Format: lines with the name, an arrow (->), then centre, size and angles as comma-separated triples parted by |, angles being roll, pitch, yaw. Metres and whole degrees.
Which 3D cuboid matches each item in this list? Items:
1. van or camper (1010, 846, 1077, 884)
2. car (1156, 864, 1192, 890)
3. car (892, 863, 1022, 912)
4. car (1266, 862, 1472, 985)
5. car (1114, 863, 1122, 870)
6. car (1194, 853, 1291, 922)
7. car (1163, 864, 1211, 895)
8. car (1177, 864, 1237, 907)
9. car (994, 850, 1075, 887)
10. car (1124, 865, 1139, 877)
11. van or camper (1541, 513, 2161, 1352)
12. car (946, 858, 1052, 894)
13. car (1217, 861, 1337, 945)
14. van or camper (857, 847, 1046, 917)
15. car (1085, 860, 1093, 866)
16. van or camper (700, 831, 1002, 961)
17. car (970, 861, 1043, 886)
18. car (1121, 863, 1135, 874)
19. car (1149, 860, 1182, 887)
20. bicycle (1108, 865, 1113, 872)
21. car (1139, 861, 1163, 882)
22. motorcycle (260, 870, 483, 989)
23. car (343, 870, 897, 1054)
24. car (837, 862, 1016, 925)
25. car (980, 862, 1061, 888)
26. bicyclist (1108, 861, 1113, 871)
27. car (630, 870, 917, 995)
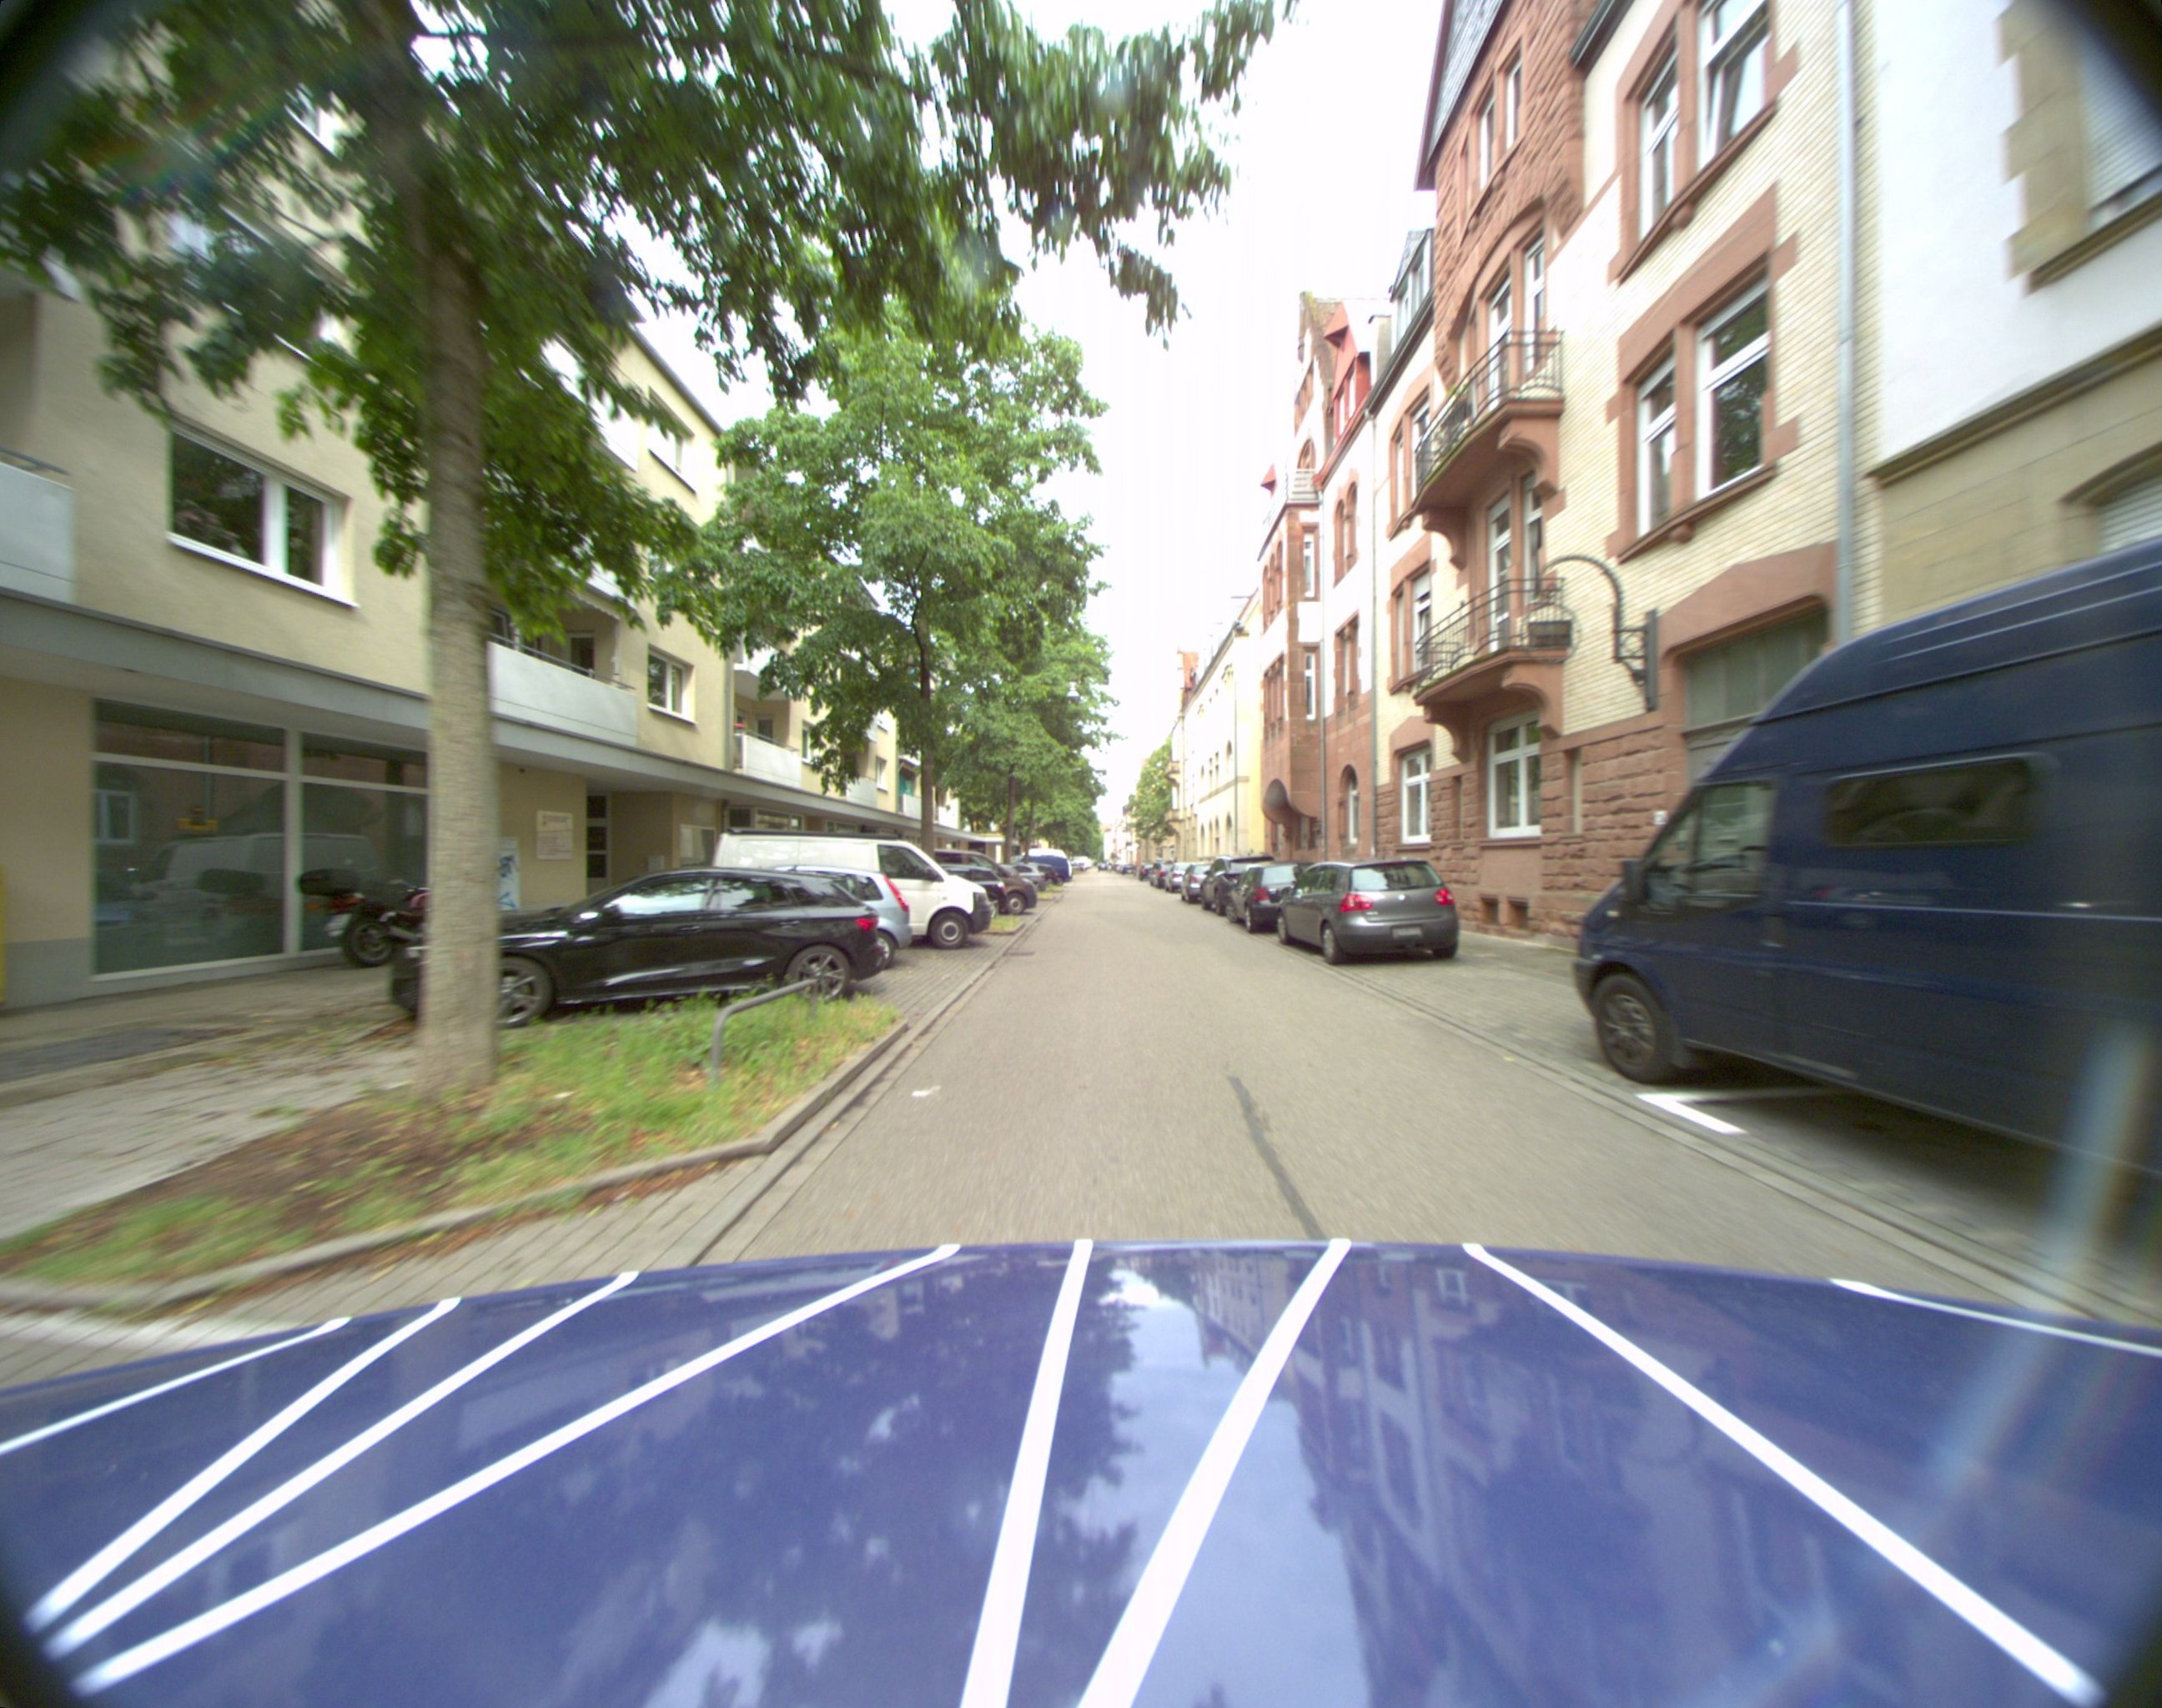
van or camper -> -2.822, 0.805, 57.376 | 4.603, 2.580, 1.907 | -3, 0, -31
car -> 5.242, 1.268, 43.345 | 1.730, 1.378, 3.930 | -1, -1, 3
car -> -4.105, 1.078, 25.054 | 3.867, 1.493, 1.909 | 1, 0, -24
car -> 4.189, 0.916, 11.774 | 1.672, 1.464, 4.001 | -4, 0, 1
car -> 7.661, 2.594, 157.053 | 1.610, 1.463, 3.343 | 0, 0, 1
car -> 4.494, 0.892, 21.797 | 1.790, 1.637, 4.362 | -5, -1, 1
car -> 5.044, 1.202, 36.751 | 1.730, 1.378, 4.137 | -1, -1, 0
car -> 4.535, 1.096, 27.793 | 1.666, 1.412, 3.930 | -2, -1, 2
car -> -2.938, 0.950, 48.601 | 4.716, 2.183, 2.061 | 3, -2, -37
car -> 6.204, 2.039, 93.329 | 1.731, 1.425, 3.883 | -2, -1, 3
van or camper -> 4.396, 0.221, 2.908 | 2.013, 2.636, 5.316 | -3, 0, 1
car -> -3.668, 0.989, 33.979 | 4.234, 1.492, 1.971 | 2, 0, -29
car -> 4.149, 0.977, 16.728 | 1.638, 1.464, 4.000 | -3, 1, 1
van or camper -> -3.761, 0.804, 22.089 | 5.029, 1.858, 2.122 | 2, 0, -24
car -> 2.235, 2.495, 206.493 | 1.998, 1.739, 4.001 | -1, -1, 3
van or camper -> -4.002, 0.696, 13.524 | 4.751, 1.982, 1.996 | 2, 2, -21
car -> -4.436, 1.143, 45.076 | 3.919, 1.457, 1.821 | 1, 0, -23
car -> 6.310, 1.977, 102.624 | 1.593, 1.425, 3.810 | -2, -1, 0
car -> 5.279, 1.240, 47.673 | 1.650, 1.561, 2.957 | -3, -1, 0
bicycle -> 4.490, 2.249, 115.100 | 0.635, 1.087, 1.800 | 0, -1, 3
car -> 5.661, 1.401, 61.893 | 1.713, 1.485, 4.001 | -3, -1, 3
motorcycle -> -8.929, 0.883, 9.732 | 0.679, 1.293, 2.253 | 2, 0, 1
car -> -4.329, 0.932, 7.828 | 4.322, 1.384, 1.918 | 2, -1, -30
car -> -3.895, 0.982, 19.279 | 4.015, 1.436, 1.837 | 2, -1, -30
car -> -3.407, 1.167, 42.908 | 4.120, 1.434, 1.848 | 1, 0, -29
bicyclist -> 4.503, 1.815, 115.136 | 0.649, 1.529, 0.677 | 0, 0, 4
car -> -4.219, 0.981, 10.511 | 3.431, 1.433, 1.667 | 2, 0, -30
